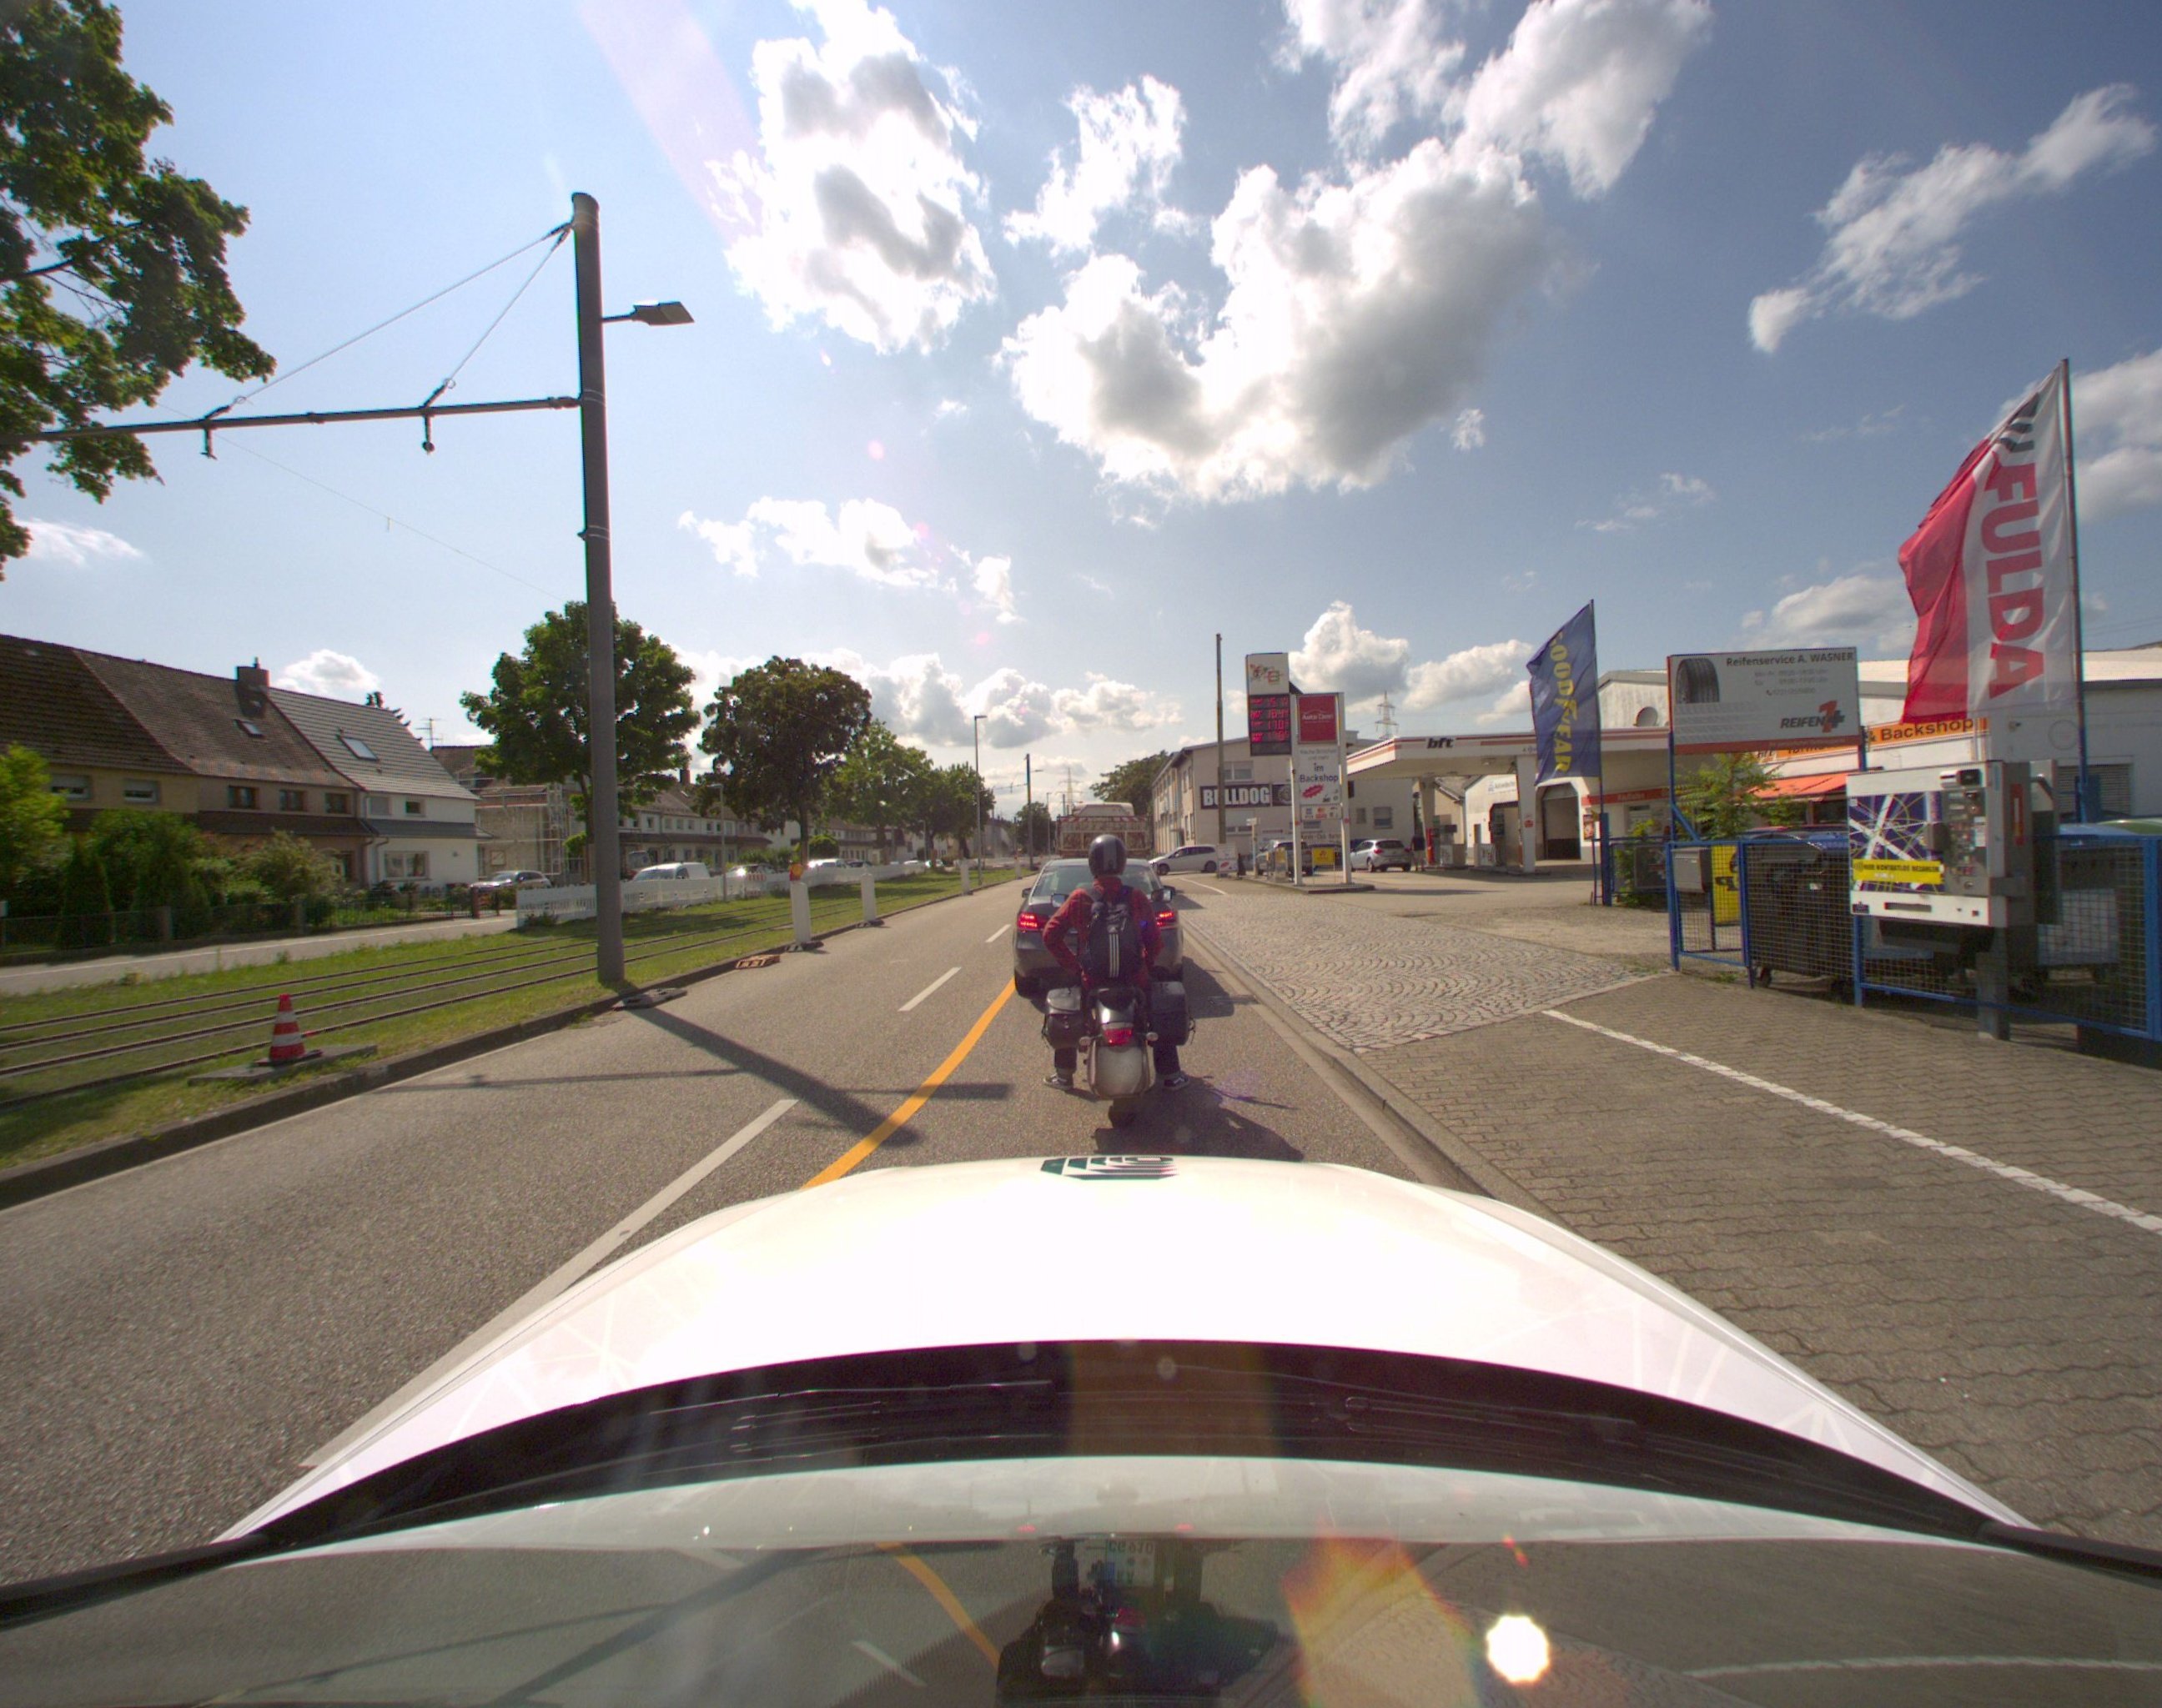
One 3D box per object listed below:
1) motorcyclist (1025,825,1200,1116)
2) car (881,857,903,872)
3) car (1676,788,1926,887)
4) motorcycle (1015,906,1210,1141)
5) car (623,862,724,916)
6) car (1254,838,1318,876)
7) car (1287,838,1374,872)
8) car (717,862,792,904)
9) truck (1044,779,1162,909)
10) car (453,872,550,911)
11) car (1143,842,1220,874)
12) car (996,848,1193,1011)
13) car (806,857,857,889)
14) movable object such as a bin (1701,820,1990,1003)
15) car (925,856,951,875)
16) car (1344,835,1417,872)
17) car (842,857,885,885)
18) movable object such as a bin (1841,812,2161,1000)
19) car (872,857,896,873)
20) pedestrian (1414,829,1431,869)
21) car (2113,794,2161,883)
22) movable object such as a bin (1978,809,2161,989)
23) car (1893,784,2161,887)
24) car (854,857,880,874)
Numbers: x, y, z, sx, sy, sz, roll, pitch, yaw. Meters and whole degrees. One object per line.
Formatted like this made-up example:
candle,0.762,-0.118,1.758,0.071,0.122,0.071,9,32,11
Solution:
motorcyclist,0.195,0.653,5.197,0.966,1.633,1.215,-1,0,1
car,-24.376,1.344,105.367,1.692,1.739,4.064,-2,0,2
car,16.602,-0.373,18.963,3.972,2.013,2.001,-2,0,1
motorcycle,0.196,0.932,5.315,0.972,1.013,2.433,-1,0,2
car,-15.417,1.278,31.058,1.692,1.817,3.862,-2,0,2
car,9.125,0.118,36.578,1.826,1.536,4.009,-3,0,1
car,13.240,0.037,43.372,4.087,1.624,1.688,-2,0,3
car,-15.324,1.325,38.488,1.692,1.739,4.056,-2,0,2
truck,0.643,-0.282,25.606,2.960,3.304,8.407,-2,0,1
car,-27.478,1.732,38.795,1.692,1.593,3.862,-2,0,2
car,5.767,0.226,47.050,4.101,1.624,1.682,-3,0,-7
car,0.159,0.720,9.852,1.826,1.479,4.009,-3,0,1
car,-15.059,1.110,49.392,1.692,1.739,3.862,-2,0,2
movable object such as a bin,6.825,0.469,7.405,1.222,1.454,1.455,-2,0,0
car,-14.083,1.147,80.282,1.692,1.739,3.862,-2,0,2
car,13.539,-0.025,37.070,1.826,1.479,4.009,-3,0,1
car,-14.866,1.140,55.759,1.692,1.739,3.862,-2,0,2
movable object such as a bin,8.105,0.415,7.281,1.222,1.454,1.455,-2,0,0
car,-24.047,1.336,99.343,1.692,1.739,4.064,-2,0,2
pedestrian,14.843,-0.211,35.389,0.628,1.683,0.626,-2,0,23
car,26.353,-0.436,18.186,3.972,2.013,2.001,-2,0,1
movable object such as a bin,9.450,0.334,7.192,1.425,1.454,1.455,-2,0,0
car,21.250,-0.403,18.271,3.972,2.013,2.001,-2,0,1
car,-24.463,1.302,93.140,1.692,1.739,4.064,-2,0,2
